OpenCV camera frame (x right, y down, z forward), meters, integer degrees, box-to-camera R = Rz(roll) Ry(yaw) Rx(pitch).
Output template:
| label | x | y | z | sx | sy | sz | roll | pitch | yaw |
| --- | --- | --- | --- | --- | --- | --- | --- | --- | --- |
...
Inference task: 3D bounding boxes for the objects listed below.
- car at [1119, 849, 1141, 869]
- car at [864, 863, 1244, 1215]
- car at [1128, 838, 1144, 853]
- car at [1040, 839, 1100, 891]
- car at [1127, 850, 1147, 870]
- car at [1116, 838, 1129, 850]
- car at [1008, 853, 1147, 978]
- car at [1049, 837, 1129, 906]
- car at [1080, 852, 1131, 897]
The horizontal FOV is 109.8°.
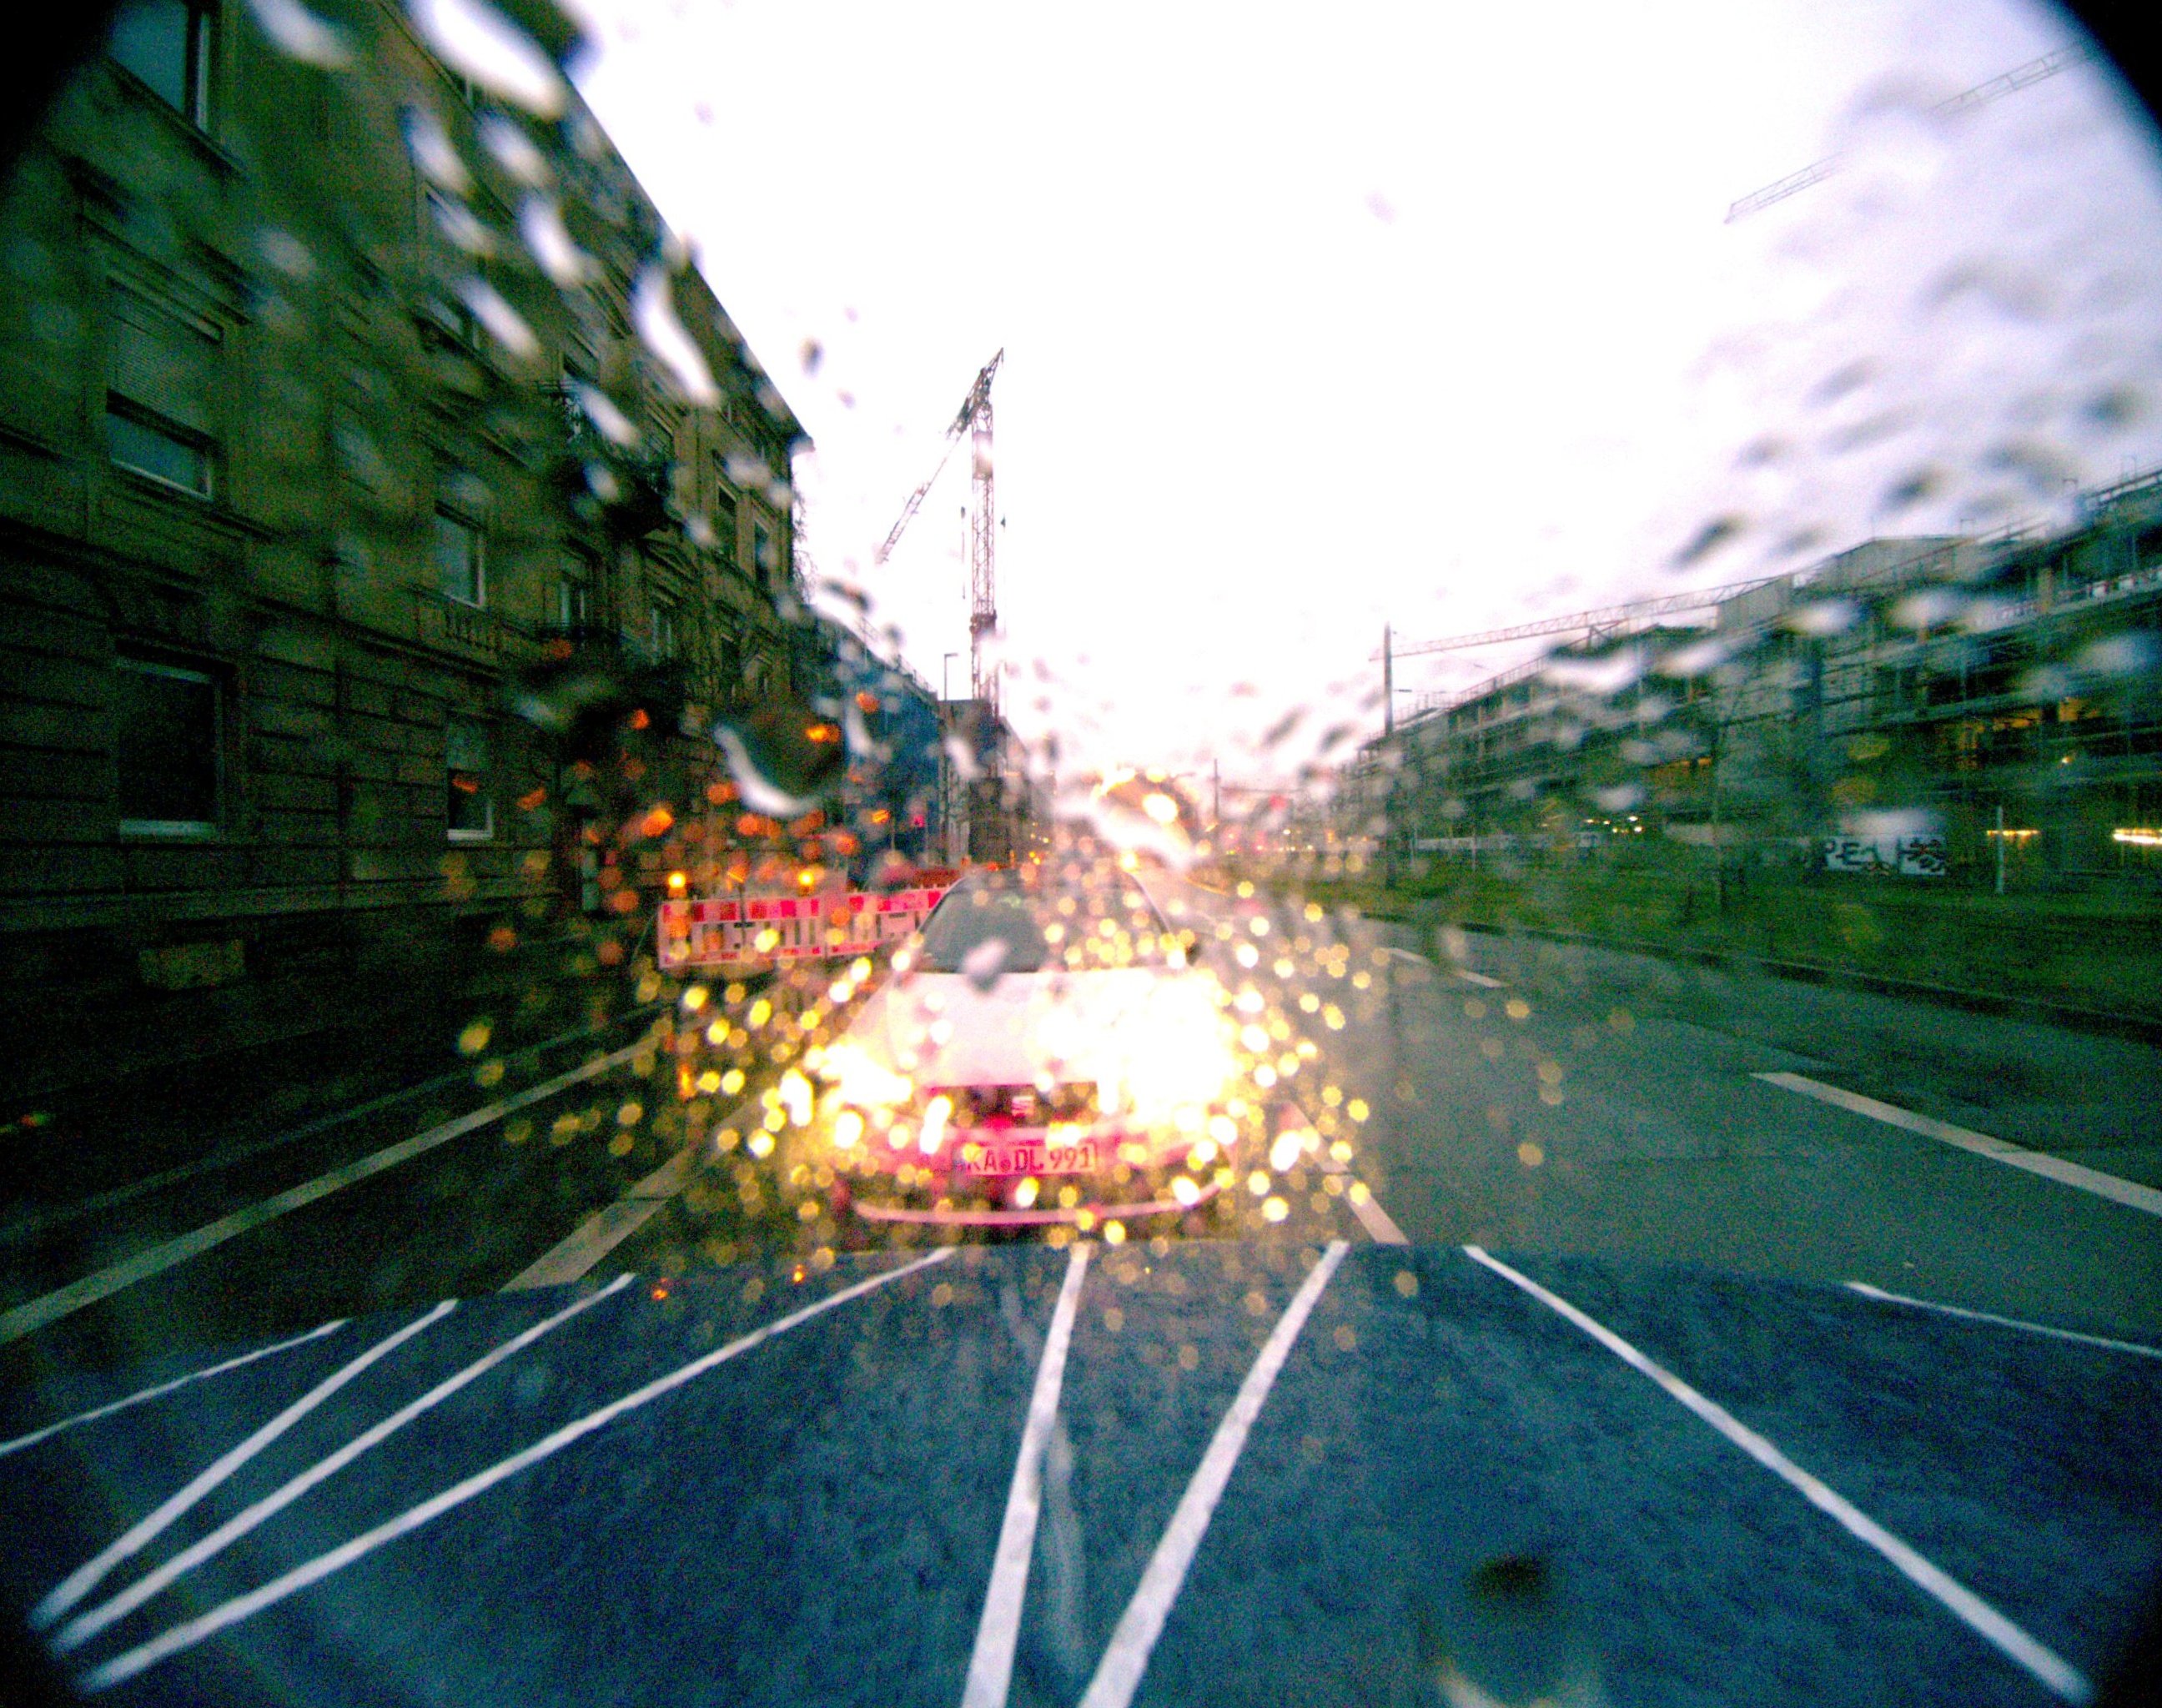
| label | x | y | z | sx | sy | sz | roll | pitch | yaw |
| --- | --- | --- | --- | --- | --- | --- | --- | --- | --- |
| car | 4.167 | 0.411 | 64.695 | 1.768 | 1.504 | 3.900 | -3 | 1 | 3 |
| car | -0.131 | 0.922 | 5.628 | 1.769 | 1.504 | 3.899 | -3 | 1 | 0 |
| car | 6.298 | -1.017 | 87.351 | 1.768 | 1.614 | 3.900 | -3 | 1 | 4 |
| car | -0.336 | 0.287 | 25.042 | 1.769 | 1.504 | 3.899 | -3 | 1 | 0 |
| car | 5.121 | 0.506 | 69.748 | 1.768 | 1.614 | 3.900 | -3 | 1 | 4 |
| car | 5.899 | -1.409 | 107.043 | 1.768 | 1.614 | 3.900 | -3 | 1 | 4 |
| car | -0.056 | 0.812 | 12.020 | 1.769 | 1.504 | 3.899 | -3 | 1 | 0 |
| car | 0.171 | 0.364 | 19.319 | 1.769 | 1.504 | 3.899 | -3 | 1 | 0 |
| car | 0.888 | 0.729 | 29.741 | 1.769 | 1.504 | 3.899 | -3 | 1 | 0 |
